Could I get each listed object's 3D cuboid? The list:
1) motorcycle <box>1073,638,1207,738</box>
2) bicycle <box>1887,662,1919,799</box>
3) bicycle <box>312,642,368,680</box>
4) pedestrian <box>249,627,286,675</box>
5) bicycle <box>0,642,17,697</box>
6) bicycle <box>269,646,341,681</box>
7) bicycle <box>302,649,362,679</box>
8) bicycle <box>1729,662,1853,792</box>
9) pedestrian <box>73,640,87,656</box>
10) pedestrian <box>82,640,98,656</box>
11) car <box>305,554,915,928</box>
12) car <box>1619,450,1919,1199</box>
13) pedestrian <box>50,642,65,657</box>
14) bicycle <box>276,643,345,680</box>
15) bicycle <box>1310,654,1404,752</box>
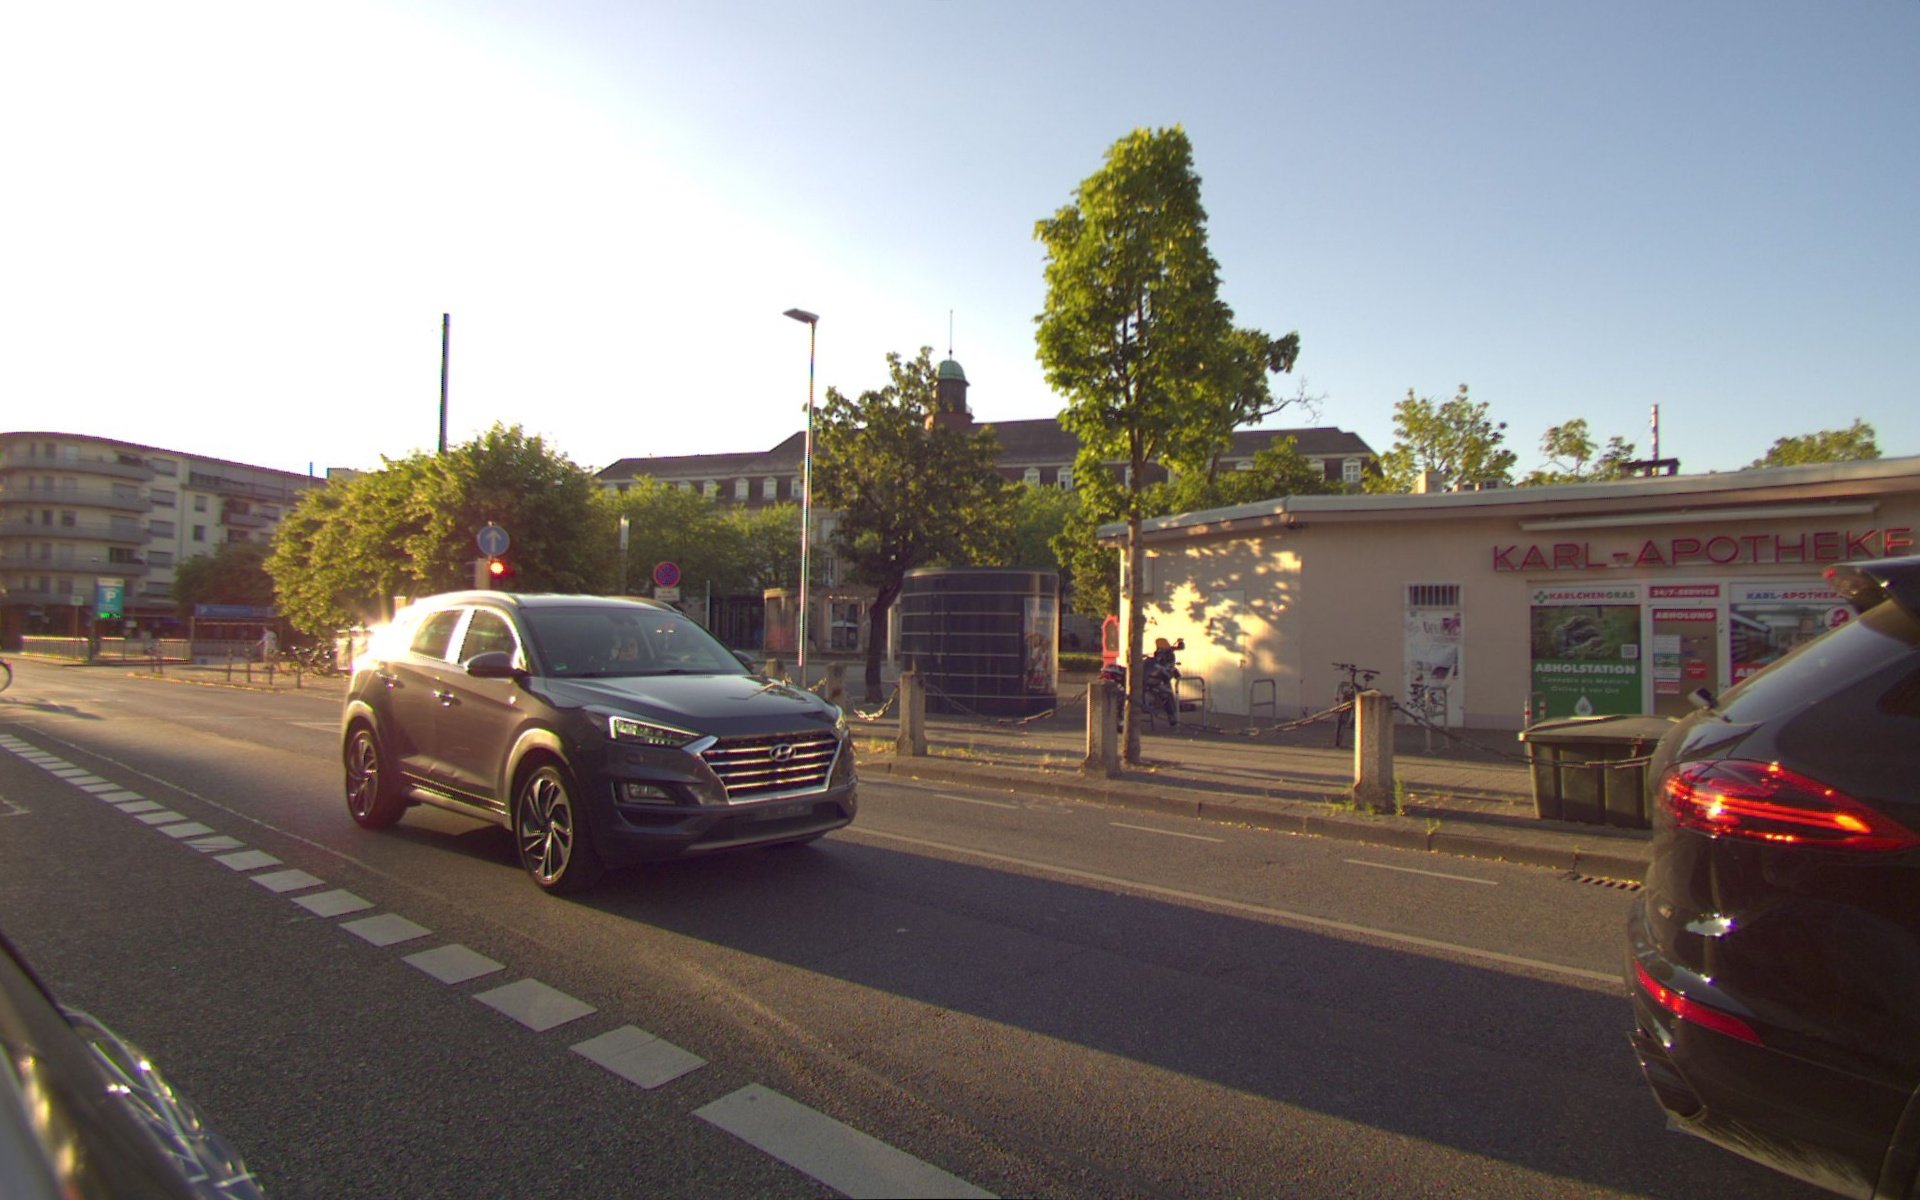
[{"bbox_3d":[2.867,1.344,15.852,0.868,1.440,2.554,-2,-4,41],"label":"motorcycle"},{"bbox_3d":[9.945,1.271,10.209,0.787,1.266,2.418,-2,-4,41],"label":"bicycle"},{"bbox_3d":[-21.137,2.069,34.538,0.444,1.262,1.571,-2,-2,38],"label":"bicycle"},{"bbox_3d":[-27.041,1.998,39.539,0.936,1.831,0.828,2,-3,-16],"label":"pedestrian"},{"bbox_3d":[-20.665,1.414,20.677,1.889,1.126,0.707,3,-3,-33],"label":"bicycle"},{"bbox_3d":[-22.440,2.154,34.702,0.548,1.143,2.007,-2,-2,36],"label":"bicycle"},{"bbox_3d":[-21.553,2.184,34.772,0.548,0.986,1.658,-2,-2,36],"label":"bicycle"},{"bbox_3d":[9.093,1.319,11.054,0.949,1.266,1.984,-2,-4,41],"label":"bicycle"},{"bbox_3d":[-74.918,4.062,86.138,0.888,1.332,0.723,-2,-3,39],"label":"pedestrian"},{"bbox_3d":[-74.808,4.127,86.989,0.814,1.332,0.684,-1,-3,16],"label":"pedestrian"},{"bbox_3d":[-2.559,0.753,6.798,4.447,1.702,1.853,-2,-5,41],"label":"car"},{"bbox_3d":[3.728,0.594,1.371,4.557,1.727,1.929,-2,-4,39],"label":"car"},{"bbox_3d":[-74.833,4.097,83.957,0.875,1.201,0.734,2,-4,-40],"label":"pedestrian"},{"bbox_3d":[-23.300,2.188,36.337,0.548,1.262,2.007,-2,-2,36],"label":"bicycle"},{"bbox_3d":[5.524,1.387,14.024,0.632,1.266,1.834,-2,-4,41],"label":"bicycle"}]
